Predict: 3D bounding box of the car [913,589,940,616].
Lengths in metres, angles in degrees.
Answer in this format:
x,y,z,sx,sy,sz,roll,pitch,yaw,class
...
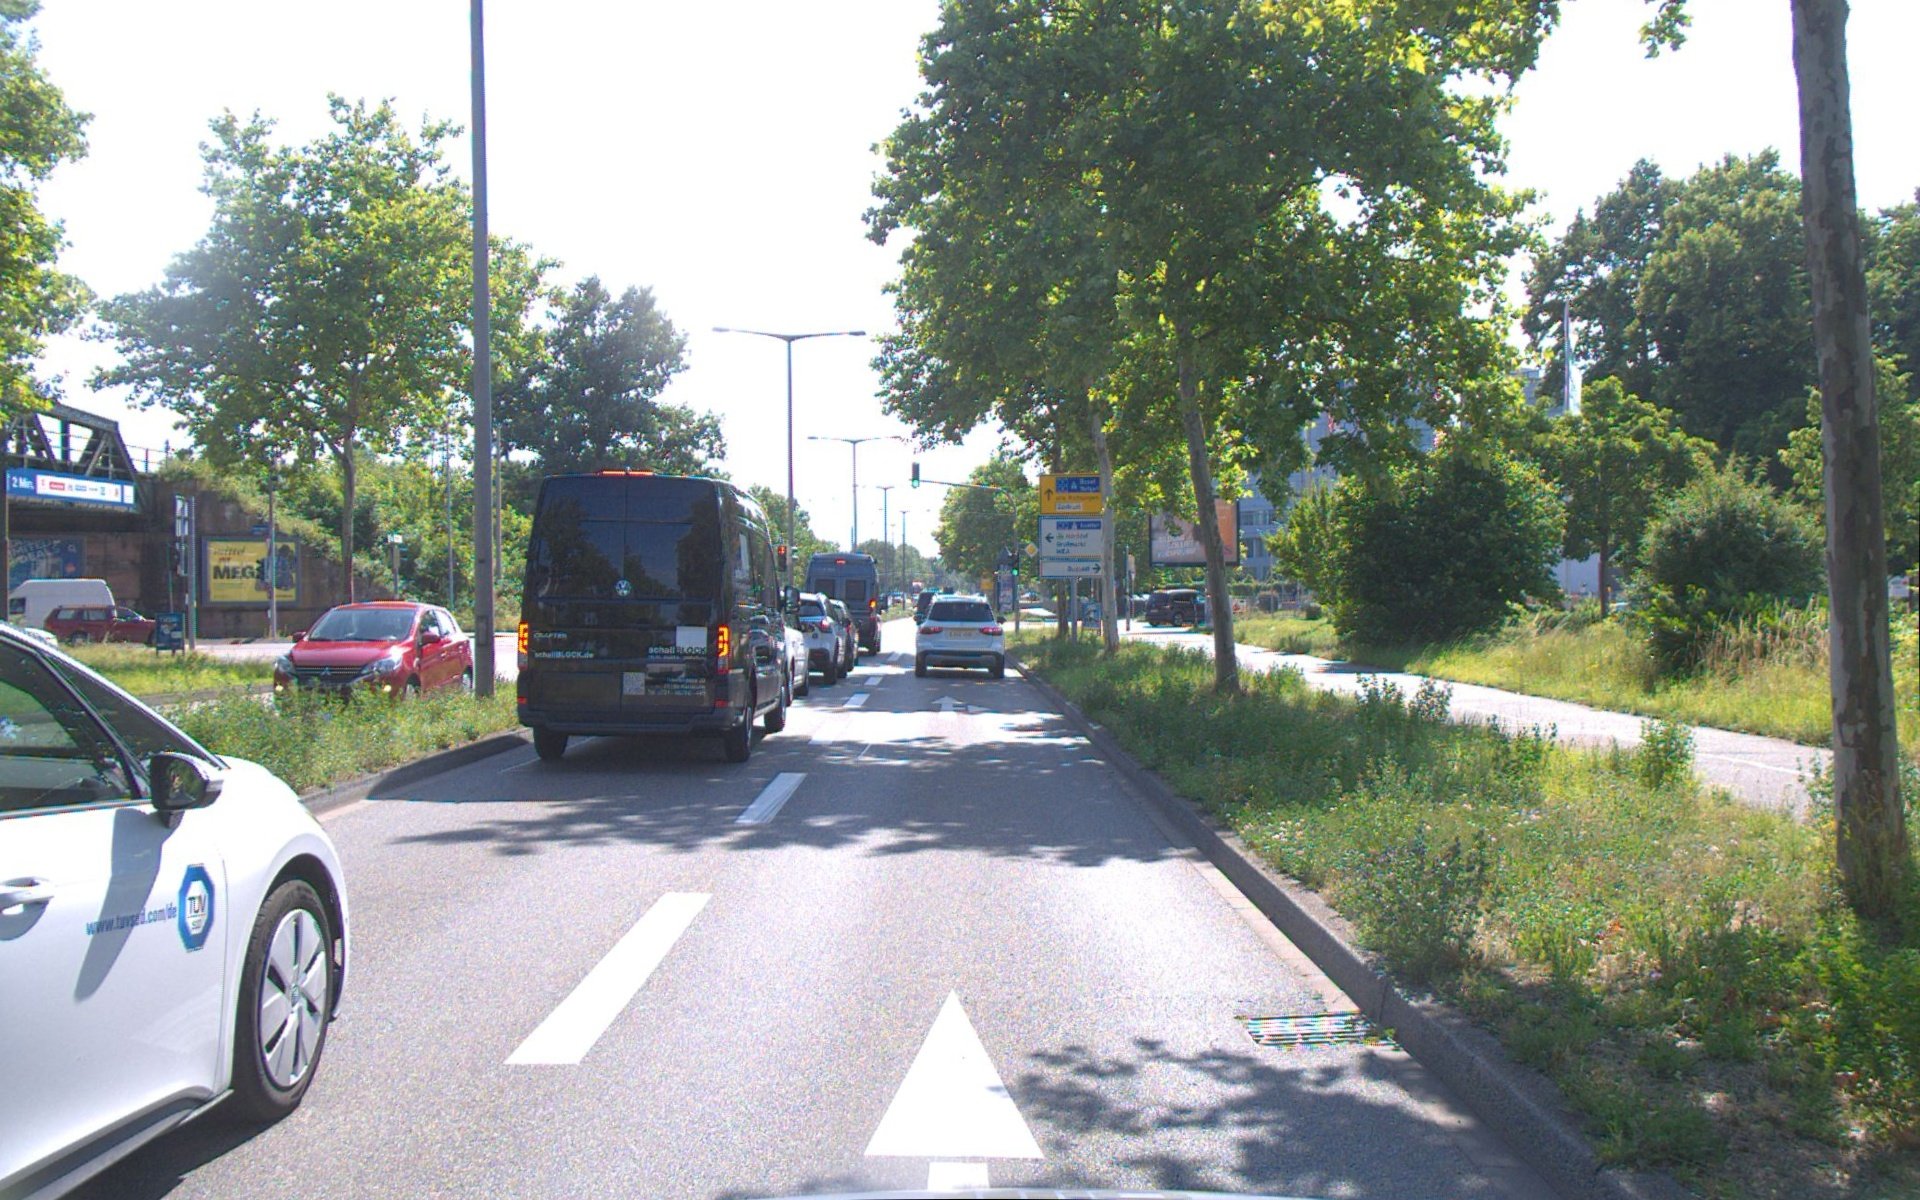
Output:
x,y,z,sx,sy,sz,roll,pitch,yaw,class
-1.808,0.111,90.121,1.434,1.428,3.476,0,0,-1,car

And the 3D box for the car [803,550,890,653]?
x,y,z,sx,sy,sz,roll,pitch,yaw,class
-3.132,0.040,46.475,2.039,2.703,4.874,1,0,0,car

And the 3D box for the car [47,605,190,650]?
x,y,z,sx,sy,sz,roll,pitch,yaw,class
-29.208,0.943,57.456,4.281,1.451,1.468,-1,0,-35,car

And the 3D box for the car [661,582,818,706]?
x,y,z,sx,sy,sz,roll,pitch,yaw,class
-3.190,0.613,24.680,1.735,1.676,4.352,0,0,0,car

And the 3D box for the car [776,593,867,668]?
x,y,z,sx,sy,sz,roll,pitch,yaw,class
-2.985,0.634,36.304,1.657,1.531,3.885,1,0,0,car

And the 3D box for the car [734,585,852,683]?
x,y,z,sx,sy,sz,roll,pitch,yaw,class
-2.996,0.590,30.435,1.735,1.676,4.084,0,0,0,car

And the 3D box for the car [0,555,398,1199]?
x,y,z,sx,sy,sz,roll,pitch,yaw,class
-2.739,0.683,3.344,1.782,1.548,4.208,0,0,0,car

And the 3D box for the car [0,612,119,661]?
x,y,z,sx,sy,sz,roll,pitch,yaw,class
-27.365,1.063,49.315,3.950,1.368,1.861,-1,0,-33,car

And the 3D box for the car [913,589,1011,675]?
x,y,z,sx,sy,sz,roll,pitch,yaw,class
-0.020,0.621,34.335,1.816,1.635,3.998,1,0,-3,car

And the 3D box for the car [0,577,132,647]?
x,y,z,sx,sy,sz,roll,pitch,yaw,class
-33.262,0.431,60.517,5.081,2.461,1.975,0,0,-36,car

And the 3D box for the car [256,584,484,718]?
x,y,z,sx,sy,sz,roll,pitch,yaw,class
-7.700,0.610,22.009,1.817,1.611,4.171,0,0,-4,car

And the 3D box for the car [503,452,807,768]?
x,y,z,sx,sy,sz,roll,pitch,yaw,class
-2.867,0.098,17.087,1.974,2.653,6.168,1,0,0,car

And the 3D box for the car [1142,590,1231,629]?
x,y,z,sx,sy,sz,roll,pitch,yaw,class
10.450,0.433,76.442,3.728,1.713,1.683,1,0,-20,car
